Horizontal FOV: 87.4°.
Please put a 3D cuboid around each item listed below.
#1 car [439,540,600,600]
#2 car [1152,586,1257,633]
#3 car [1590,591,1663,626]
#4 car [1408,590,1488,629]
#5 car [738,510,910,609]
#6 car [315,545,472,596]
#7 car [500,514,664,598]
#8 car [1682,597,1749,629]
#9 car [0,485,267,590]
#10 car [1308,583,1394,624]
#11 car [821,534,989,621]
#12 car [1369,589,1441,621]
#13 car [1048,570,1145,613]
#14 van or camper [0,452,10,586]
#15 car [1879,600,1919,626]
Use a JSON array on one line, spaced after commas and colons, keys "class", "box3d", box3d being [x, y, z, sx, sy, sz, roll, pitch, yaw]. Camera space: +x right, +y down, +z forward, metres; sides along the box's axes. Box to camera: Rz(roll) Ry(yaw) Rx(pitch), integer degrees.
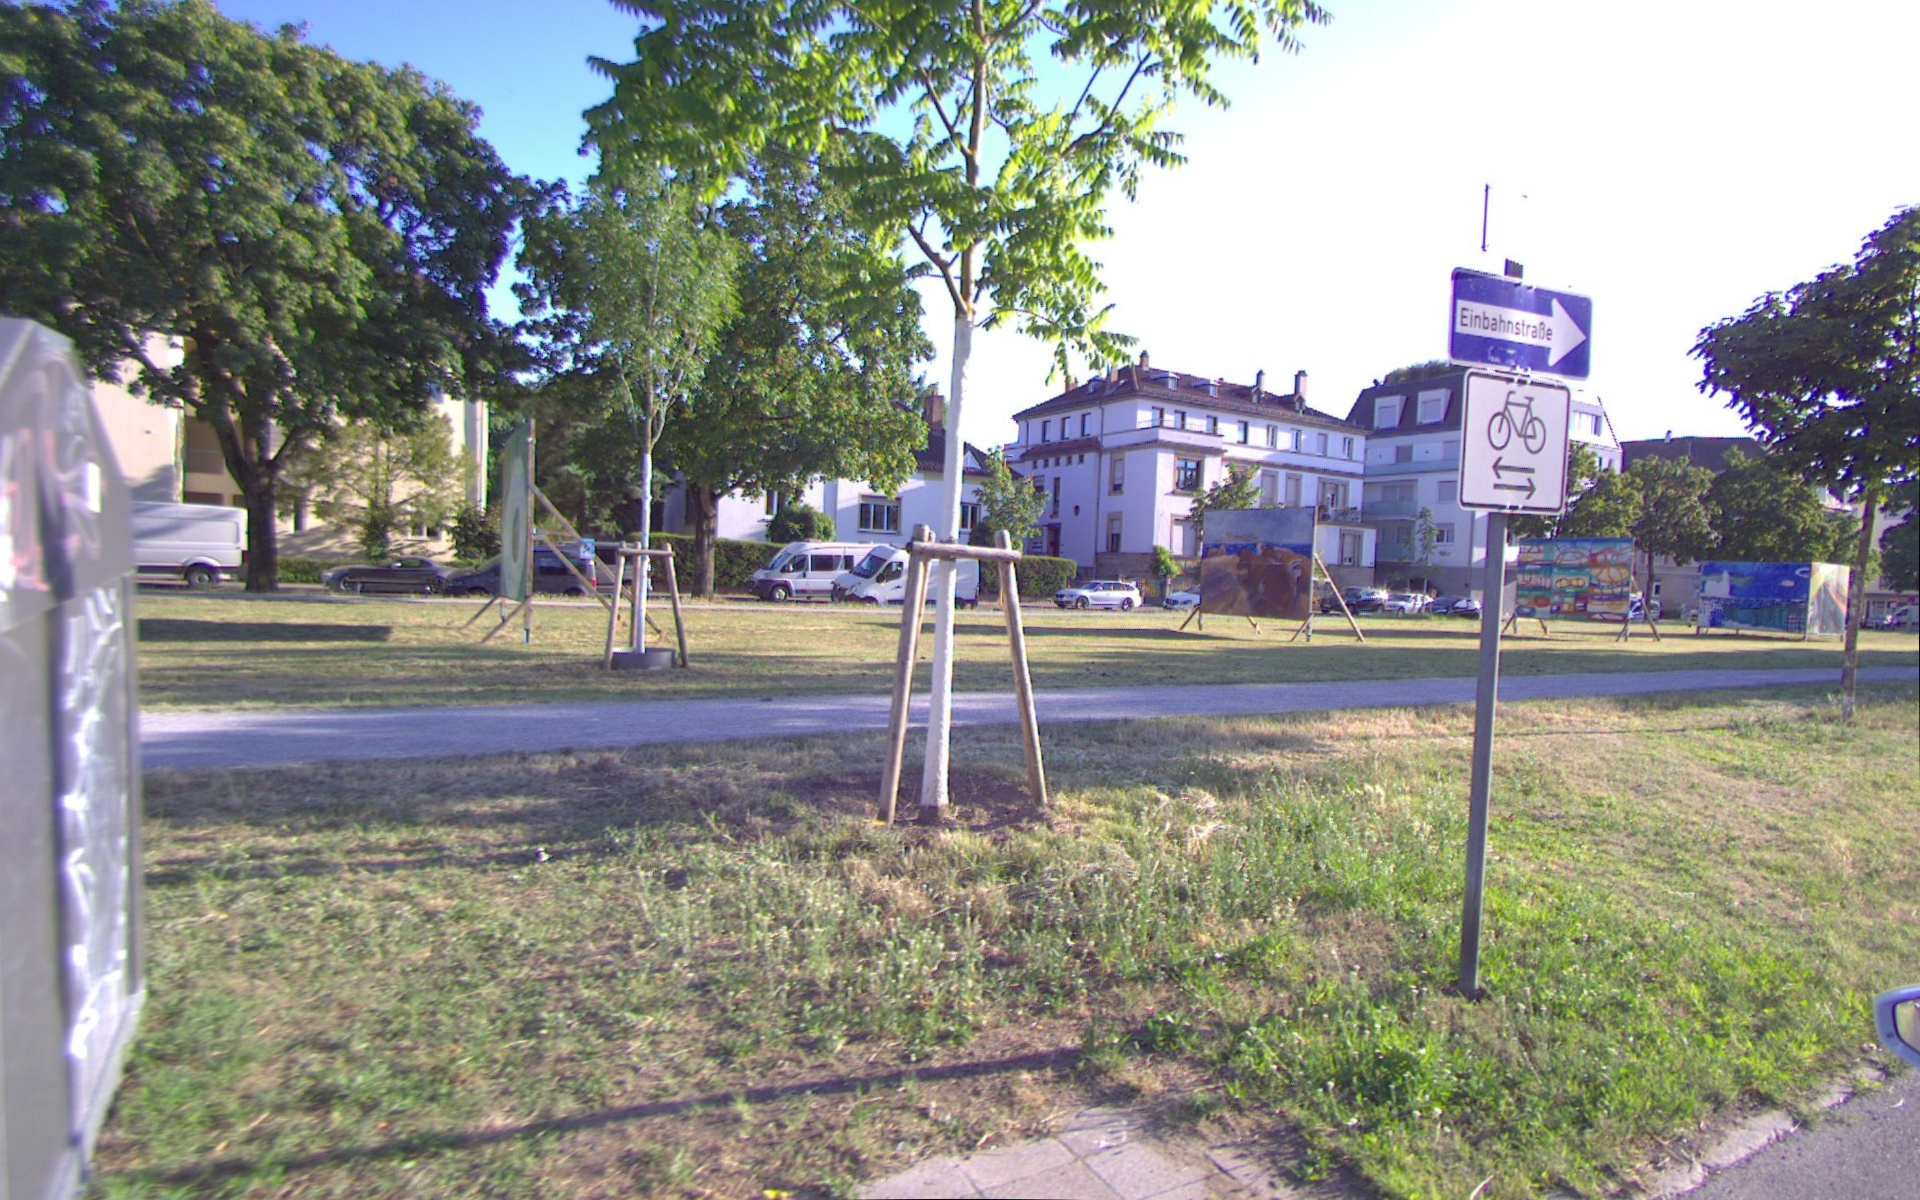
[{"class": "car", "box3d": [-13.190, -0.885, 30.152, 4.261, 1.585, 1.406, 2, 2, -32]}, {"class": "car", "box3d": [11.062, 0.466, 45.379, 4.587, 1.924, 1.825, 3, -2, -30]}, {"class": "car", "box3d": [42.631, 0.595, 64.180, 5.316, 2.027, 2.006, 3, -2, -34]}, {"class": "car", "box3d": [26.503, 0.551, 54.572, 4.277, 1.942, 1.880, 3, -2, -31]}, {"class": "car", "box3d": [-5.583, -1.562, 41.777, 6.686, 3.605, 2.292, 3, -2, -30]}, {"class": "car", "box3d": [-19.094, -0.953, 34.128, 4.503, 1.421, 1.987, 2, -2, -27]}, {"class": "car", "box3d": [-13.878, -1.531, 37.005, 5.268, 2.638, 2.124, 3, -2, -32]}, {"class": "car", "box3d": [52.555, 0.927, 69.852, 4.993, 2.084, 1.984, 3, -2, -30]}, {"class": "car", "box3d": [-25.100, -1.799, 30.855, 6.020, 2.632, 1.984, 3, -2, -31]}, {"class": "car", "box3d": [23.160, 0.247, 59.536, 4.795, 2.159, 2.228, 3, -2, -29]}, {"class": "car", "box3d": [-2.006, -0.734, 37.226, 5.802, 2.863, 2.250, 3, -2, -30]}, {"class": "car", "box3d": [27.477, 0.352, 61.998, 4.406, 1.767, 1.813, 3, -2, -30]}, {"class": "car", "box3d": [6.727, -0.383, 49.412, 4.660, 1.878, 1.721, 3, -2, -31]}, {"class": "van or camper", "box3d": [-26.389, -2.021, 22.584, 6.822, 3.306, 2.629, 1, 2, -30]}, {"class": "car", "box3d": [106.095, 1.505, 111.083, 6.202, 2.757, 1.999, 3, 2, 30]}]
